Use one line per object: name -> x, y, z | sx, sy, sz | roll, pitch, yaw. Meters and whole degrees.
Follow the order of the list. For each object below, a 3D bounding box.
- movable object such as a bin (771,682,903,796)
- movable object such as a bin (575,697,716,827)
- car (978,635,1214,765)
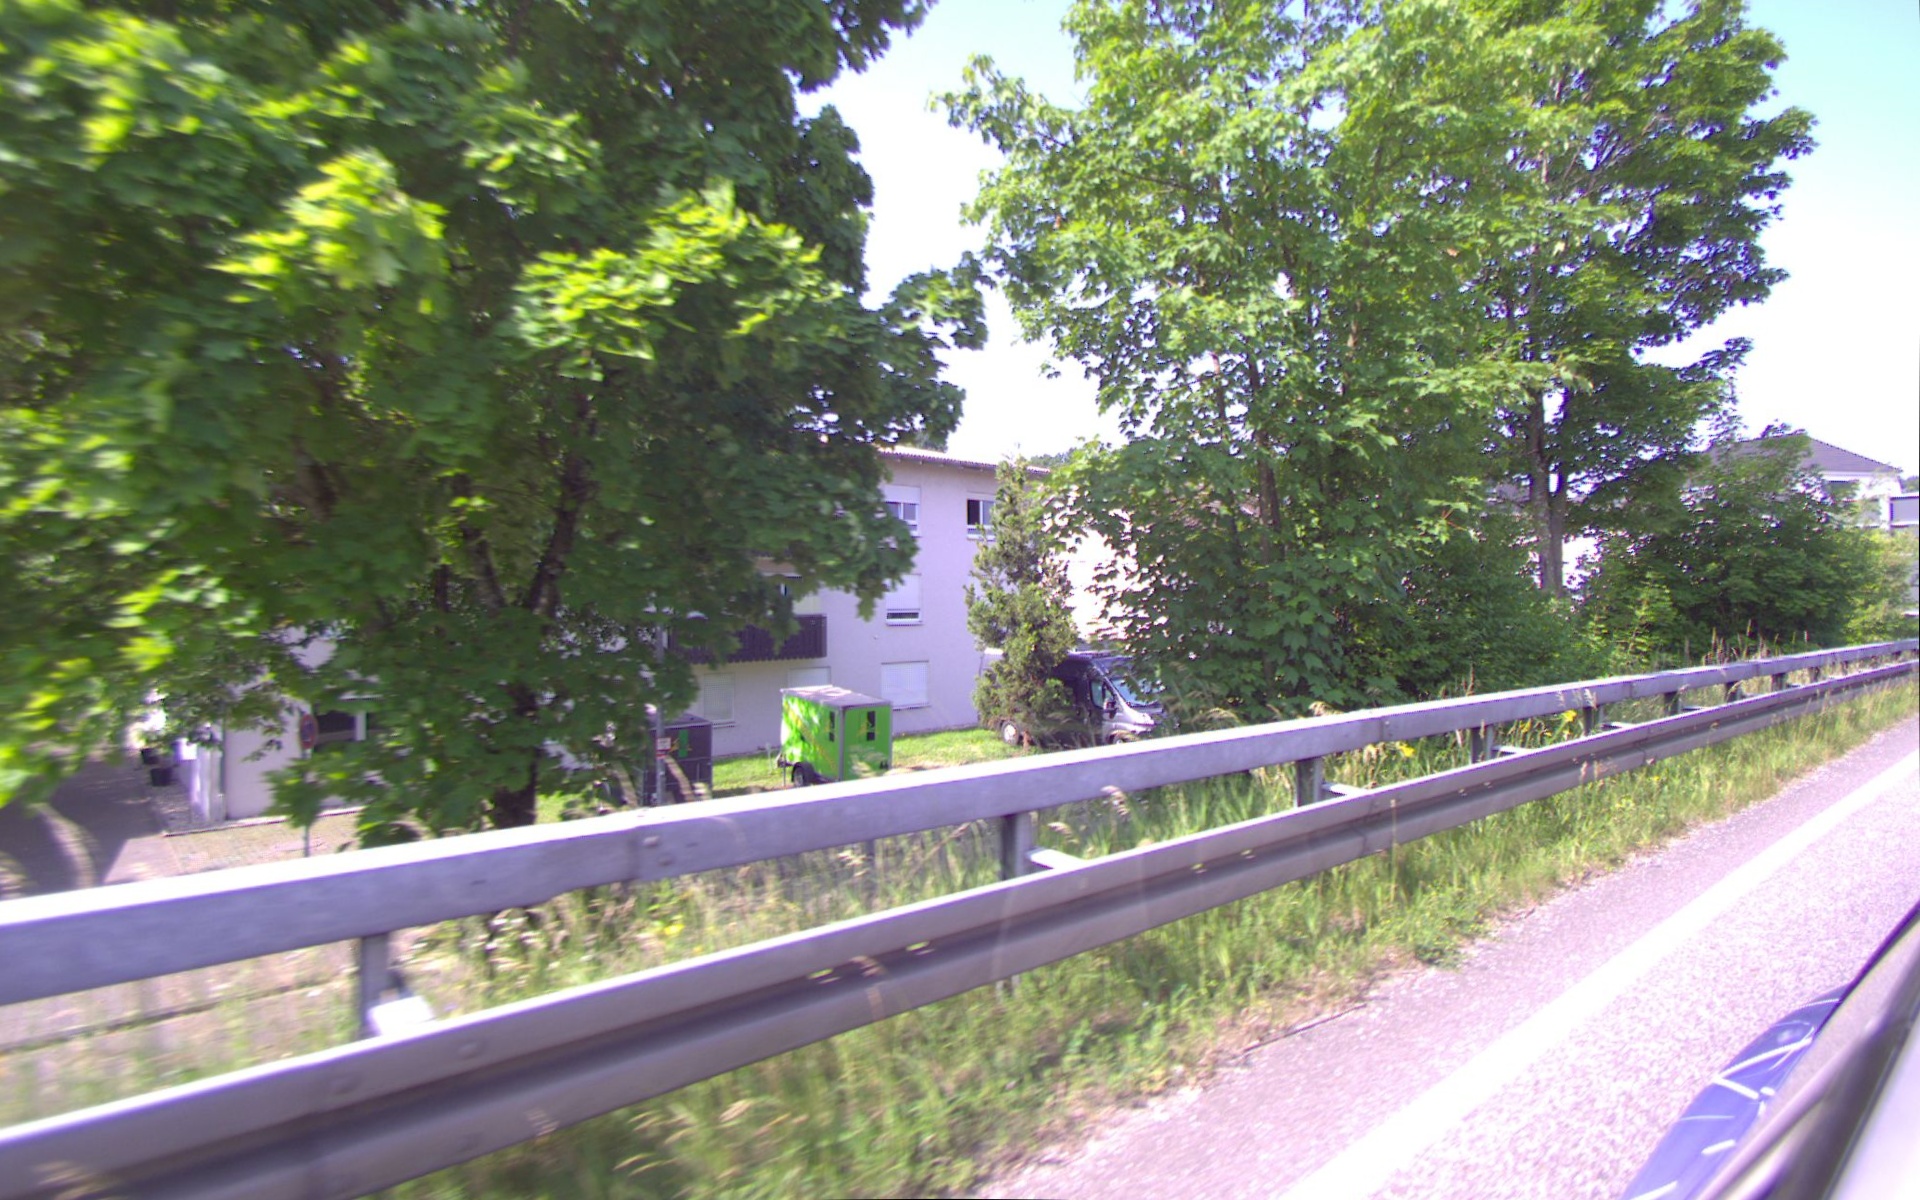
movable object such as a bin -> -2.666, 2.874, 21.578 | 1.558, 2.040, 2.790 | 0, -2, -38
movable object such as a bin -> -6.111, 3.012, 19.521 | 1.681, 2.040, 2.921 | 0, -2, -38
car -> 3.320, 2.386, 26.179 | 2.272, 2.720, 6.086 | -4, 2, -38
